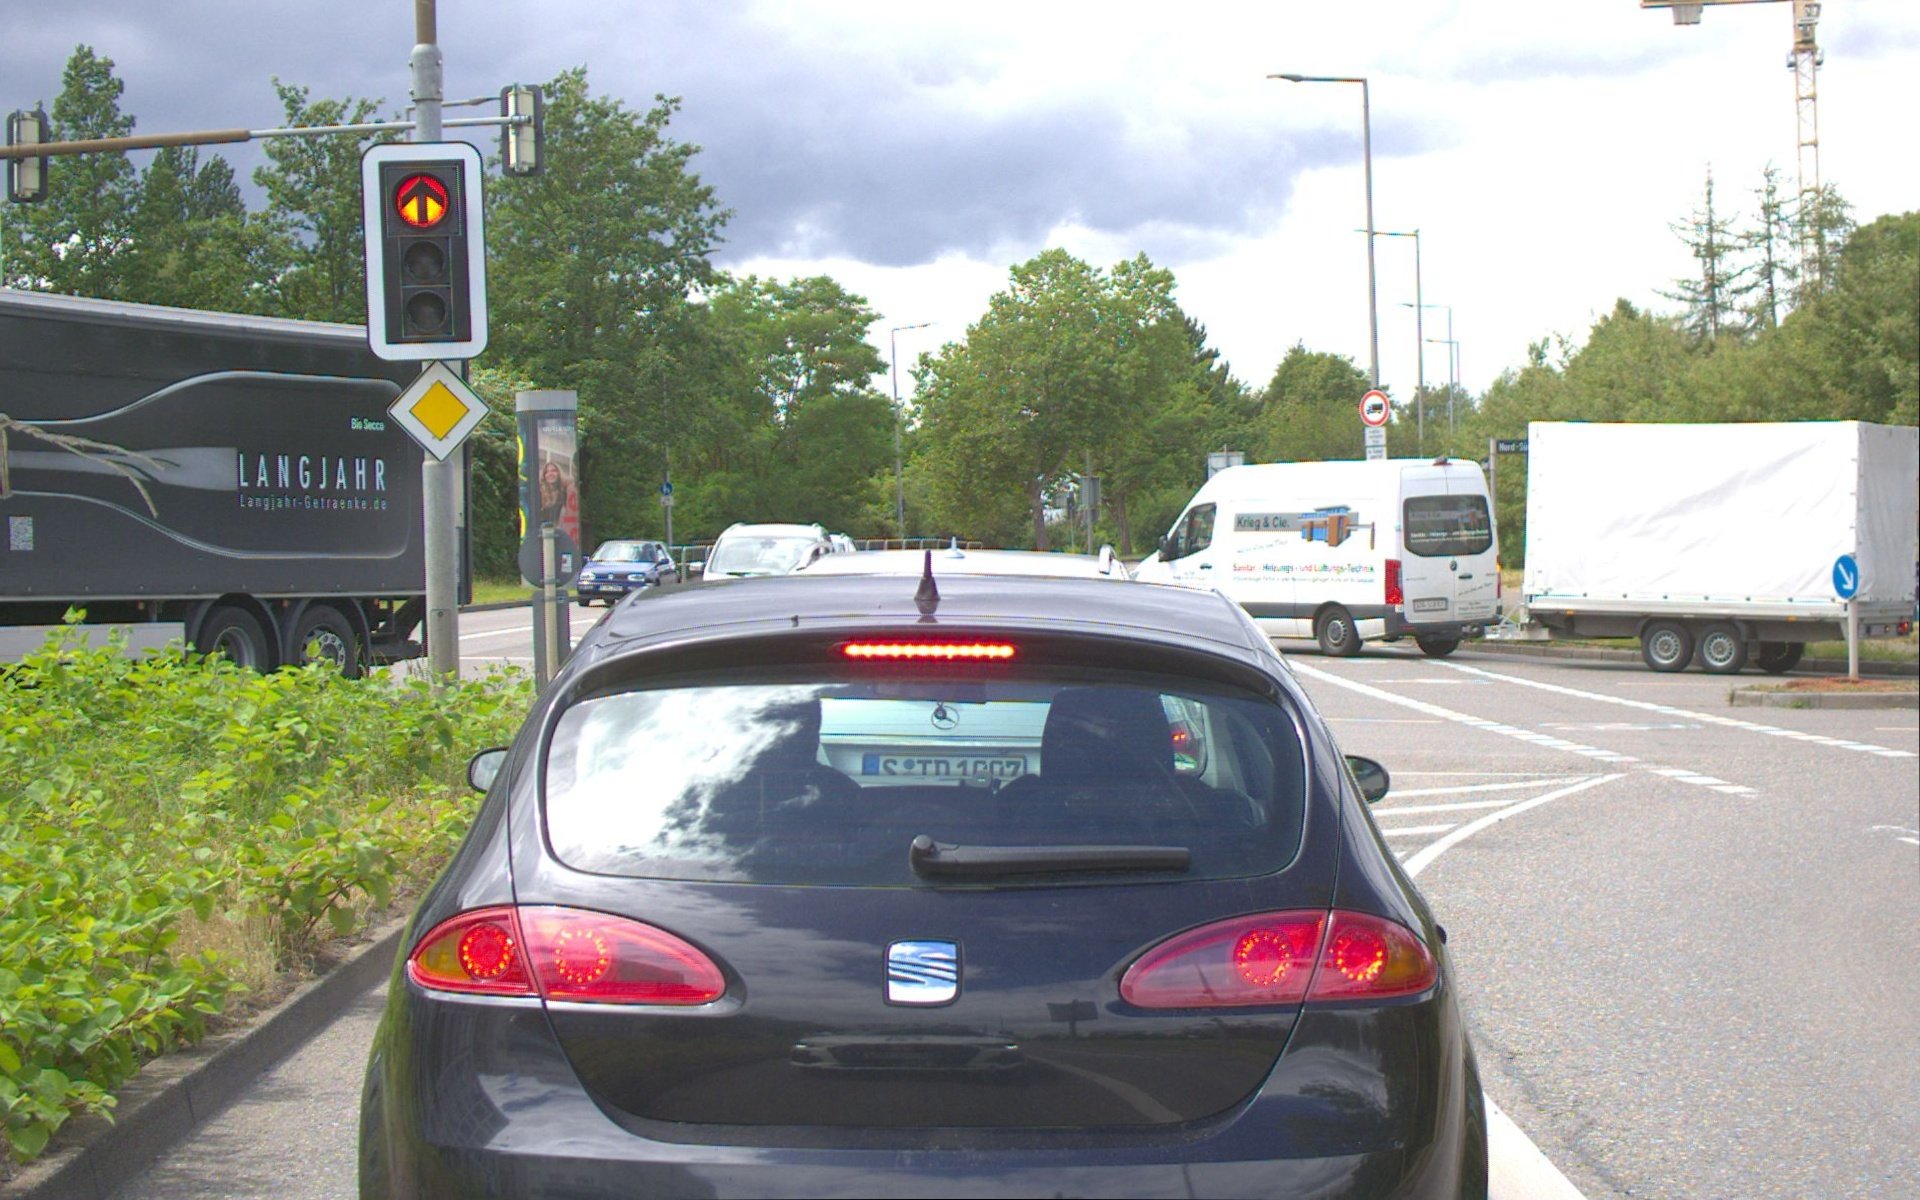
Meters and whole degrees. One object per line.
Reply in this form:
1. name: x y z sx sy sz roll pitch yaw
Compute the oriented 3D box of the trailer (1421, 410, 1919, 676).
1. trailer: 8.759 -0.707 42.249 5.579 3.063 2.495 1 1 33
